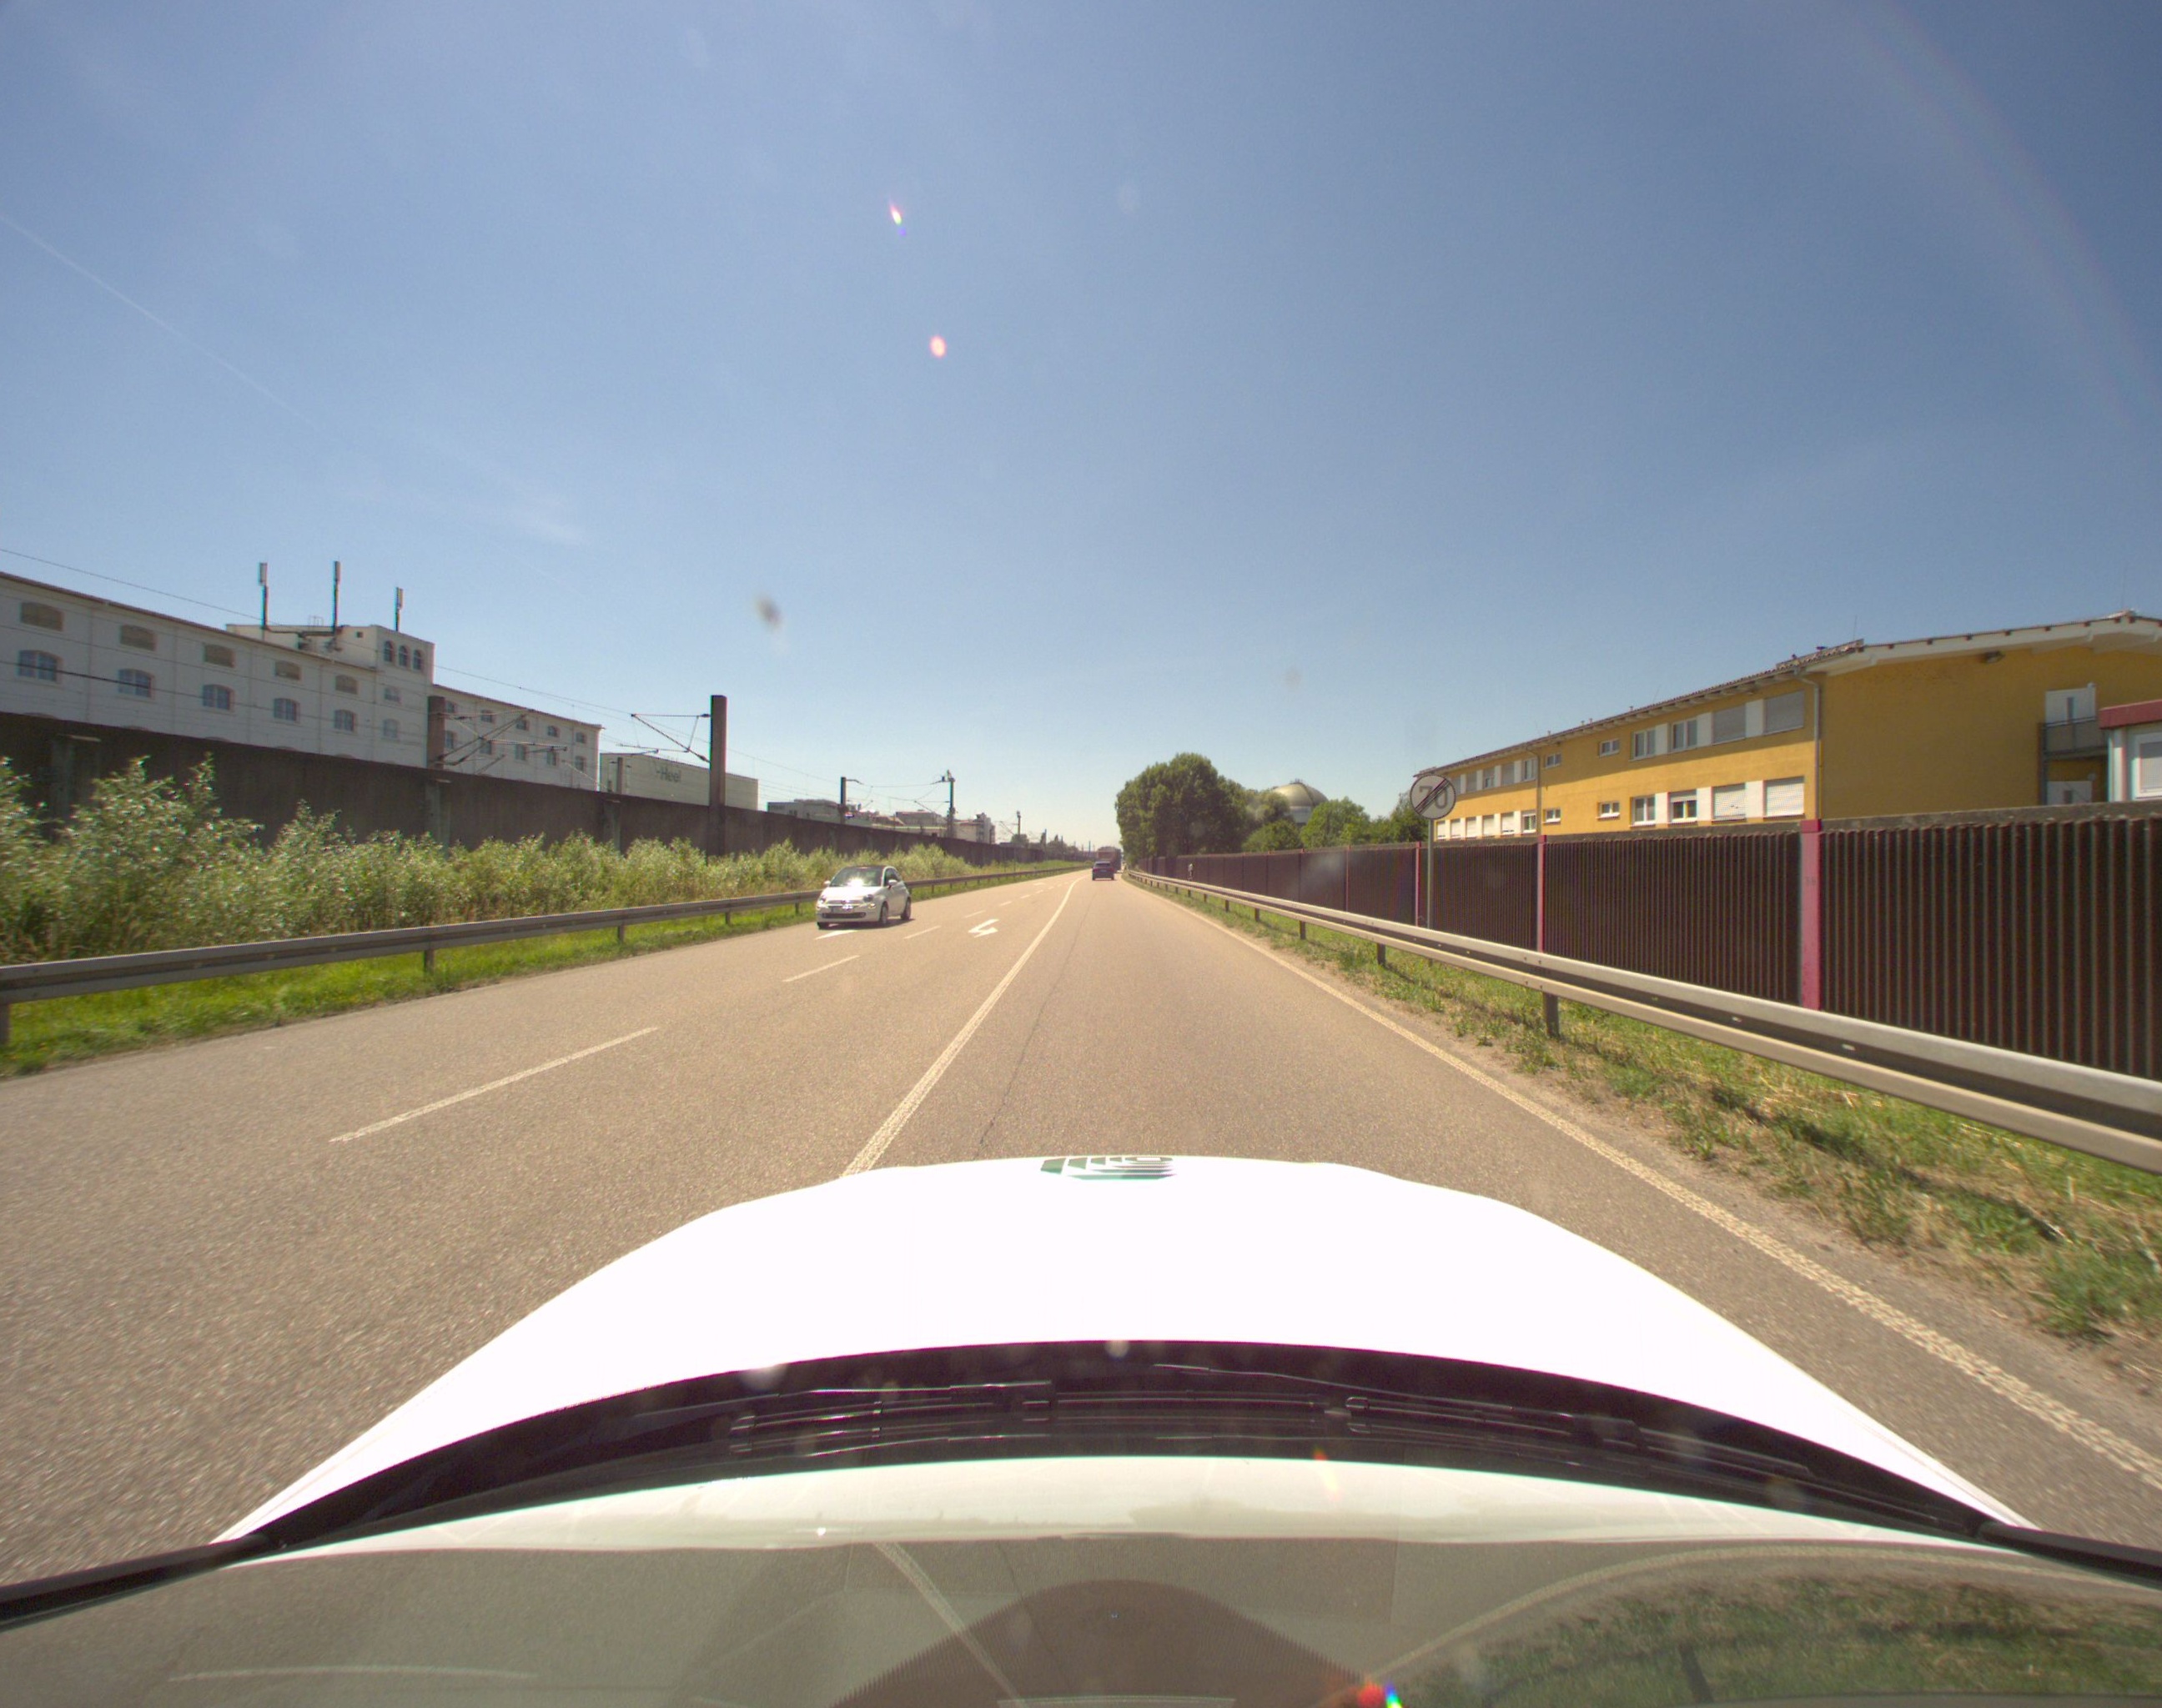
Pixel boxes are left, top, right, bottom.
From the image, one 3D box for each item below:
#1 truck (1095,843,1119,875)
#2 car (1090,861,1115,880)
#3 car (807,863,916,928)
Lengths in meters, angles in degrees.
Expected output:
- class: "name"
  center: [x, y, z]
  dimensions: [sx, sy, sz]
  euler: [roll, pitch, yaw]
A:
- class: "truck"
  center: [3.648, 0.814, 112.201]
  dimensions: [2.984, 4.181, 11.813]
  euler: [-1, -1, 2]
- class: "car"
  center: [1.803, 1.414, 67.873]
  dimensions: [1.986, 1.503, 4.001]
  euler: [0, -2, 2]
- class: "car"
  center: [-5.454, 0.980, 20.697]
  dimensions: [1.666, 1.502, 3.723]
  euler: [-1, -1, 1]
